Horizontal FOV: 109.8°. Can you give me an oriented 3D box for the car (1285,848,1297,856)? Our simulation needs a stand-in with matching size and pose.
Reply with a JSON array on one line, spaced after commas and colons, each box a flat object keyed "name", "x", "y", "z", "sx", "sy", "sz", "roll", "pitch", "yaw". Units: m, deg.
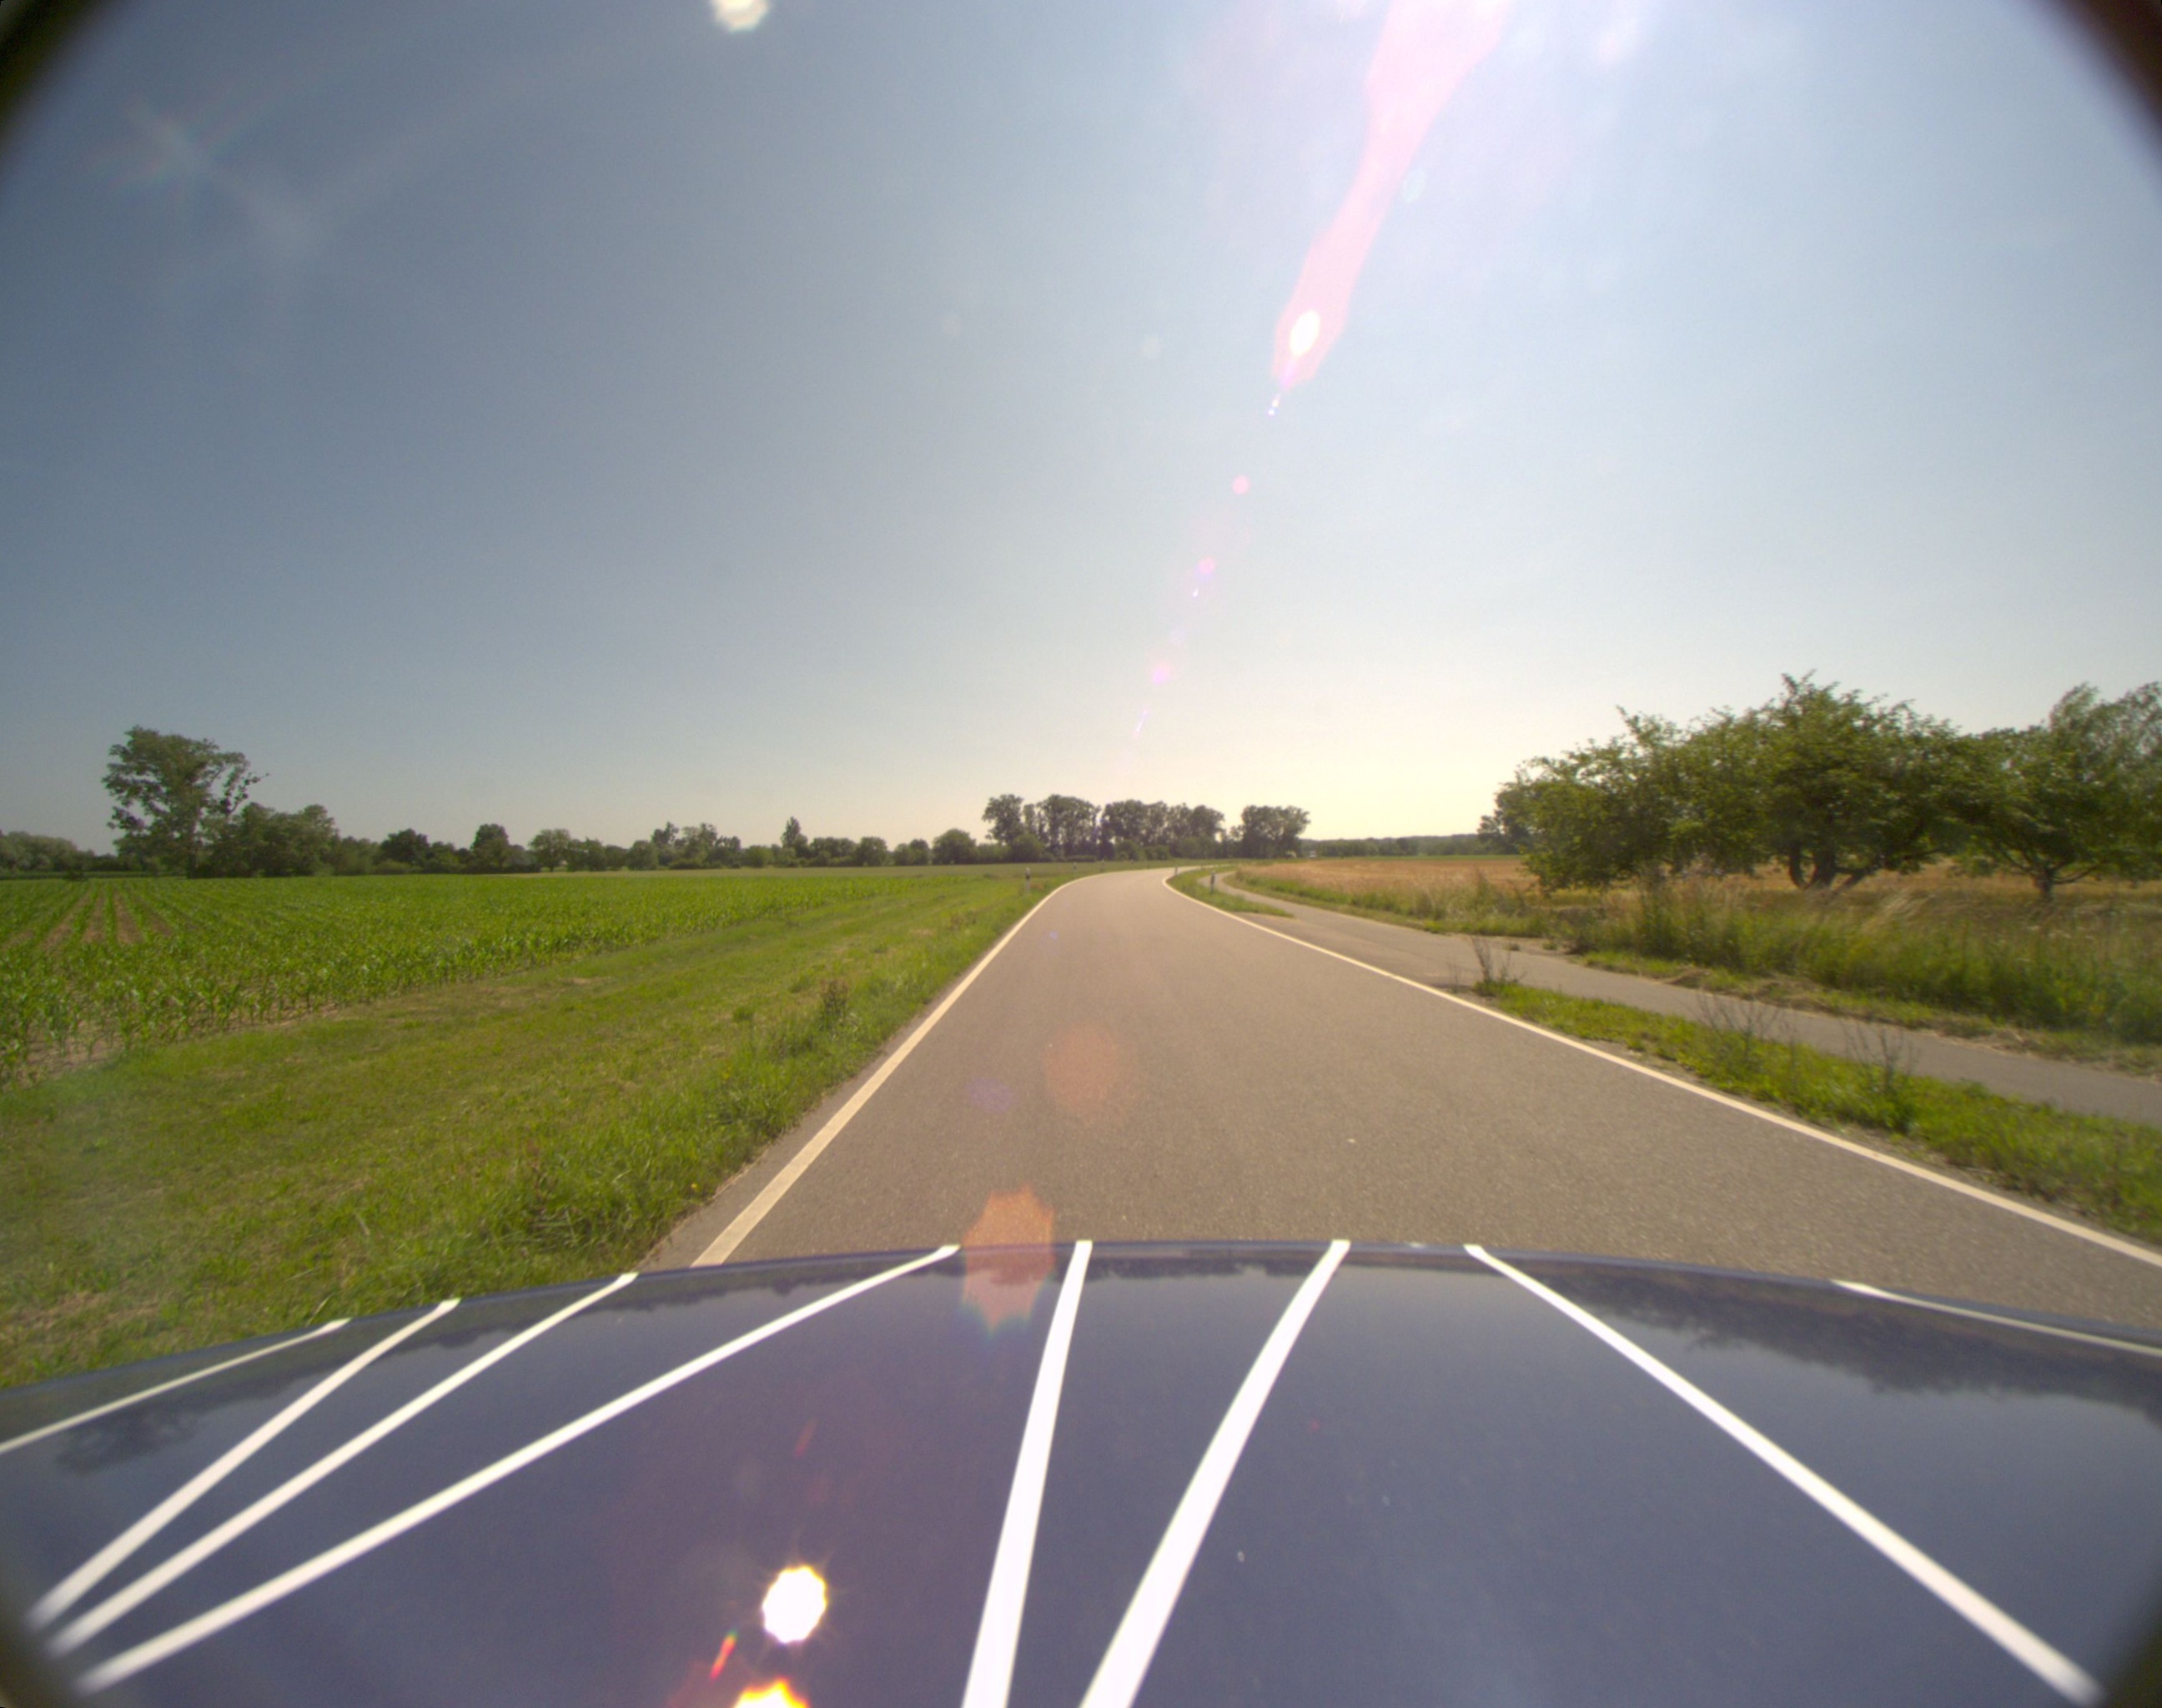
[{"name": "car", "x": 44.148, "y": -0.370, "z": 159.408, "sx": 1.888, "sy": 1.705, "sz": 4.020, "roll": 1, "pitch": 0, "yaw": 22}]
